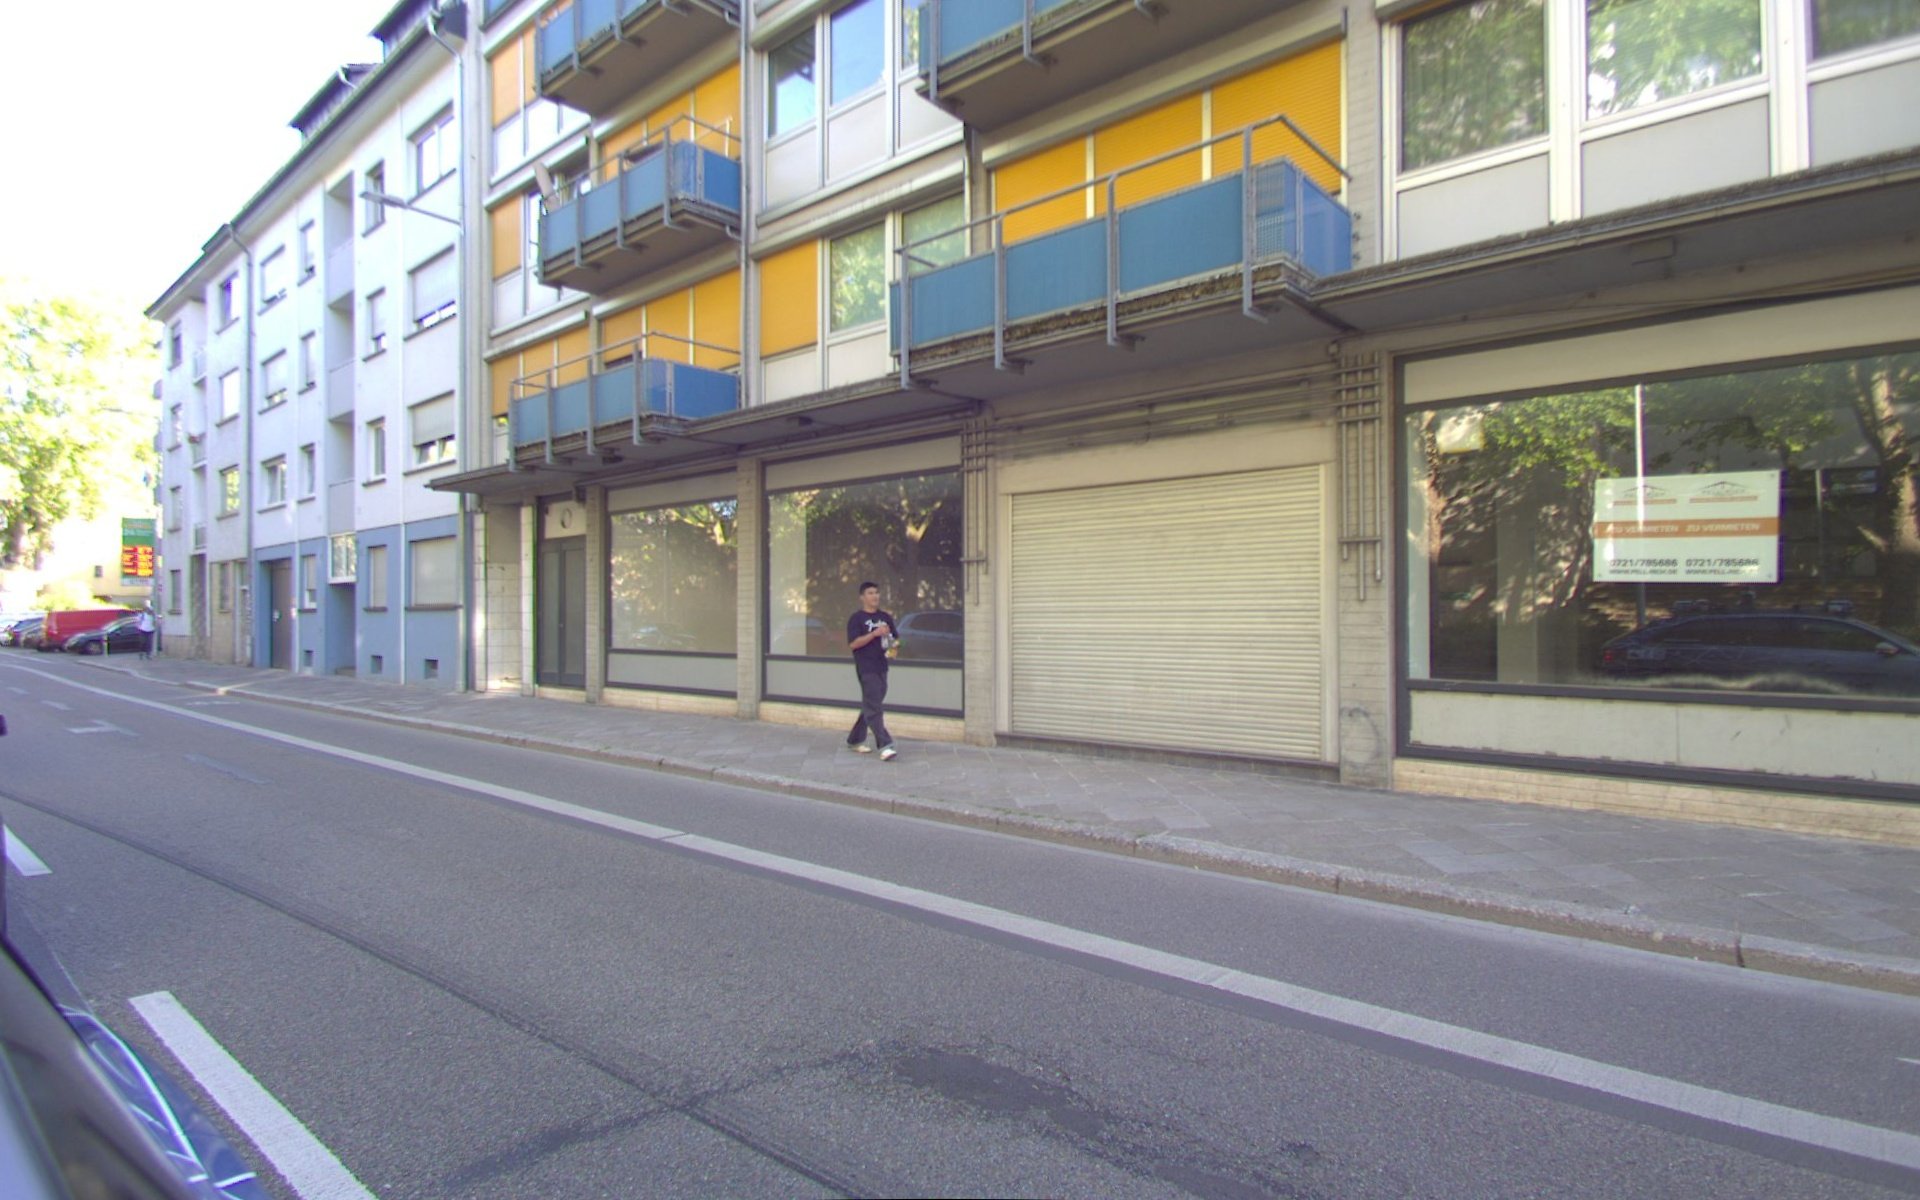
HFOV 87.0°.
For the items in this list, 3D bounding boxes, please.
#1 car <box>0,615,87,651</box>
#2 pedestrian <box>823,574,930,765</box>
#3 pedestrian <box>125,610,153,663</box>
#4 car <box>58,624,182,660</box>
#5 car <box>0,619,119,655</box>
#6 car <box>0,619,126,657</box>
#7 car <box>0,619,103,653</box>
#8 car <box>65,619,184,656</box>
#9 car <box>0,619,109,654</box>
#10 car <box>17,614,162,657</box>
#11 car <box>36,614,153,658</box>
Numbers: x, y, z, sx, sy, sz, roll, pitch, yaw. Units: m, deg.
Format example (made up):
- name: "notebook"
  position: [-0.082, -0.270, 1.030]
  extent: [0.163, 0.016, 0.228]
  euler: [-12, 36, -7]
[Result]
- name: "car"
  position: [-59.325, 2.098, 64.710]
  extent: [2.186, 2.164, 5.077]
  euler: [-1, -1, 41]
- name: "pedestrian"
  position: [-0.823, 0.654, 9.973]
  extent: [0.793, 1.785, 0.655]
  euler: [-1, -1, 41]
- name: "pedestrian"
  position: [-27.688, 1.215, 34.124]
  extent: [0.756, 1.760, 0.600]
  euler: [-1, 0, 41]
- name: "car"
  position: [-36.534, 1.788, 44.073]
  extent: [1.742, 1.431, 3.946]
  euler: [-1, -1, 41]
- name: "car"
  position: [-52.217, 2.110, 58.715]
  extent: [2.159, 1.952, 4.990]
  euler: [-1, -1, 41]
- name: "car"
  position: [-50.278, 2.087, 56.827]
  extent: [2.186, 1.952, 5.077]
  euler: [-1, -1, 41]
- name: "car"
  position: [-55.951, 2.159, 61.983]
  extent: [2.314, 1.952, 4.978]
  euler: [-1, -1, 41]
- name: "car"
  position: [-37.858, 1.678, 45.939]
  extent: [1.742, 1.572, 3.946]
  euler: [-1, -1, 41]
- name: "car"
  position: [-54.103, 2.131, 60.352]
  extent: [2.082, 1.952, 4.928]
  euler: [-1, -1, 41]
- name: "car"
  position: [-42.672, 1.701, 49.710]
  extent: [2.256, 1.995, 5.156]
  euler: [-1, -1, 41]
- name: "car"
  position: [-40.571, 1.634, 47.513]
  extent: [1.866, 1.952, 3.946]
  euler: [-1, -1, 41]
